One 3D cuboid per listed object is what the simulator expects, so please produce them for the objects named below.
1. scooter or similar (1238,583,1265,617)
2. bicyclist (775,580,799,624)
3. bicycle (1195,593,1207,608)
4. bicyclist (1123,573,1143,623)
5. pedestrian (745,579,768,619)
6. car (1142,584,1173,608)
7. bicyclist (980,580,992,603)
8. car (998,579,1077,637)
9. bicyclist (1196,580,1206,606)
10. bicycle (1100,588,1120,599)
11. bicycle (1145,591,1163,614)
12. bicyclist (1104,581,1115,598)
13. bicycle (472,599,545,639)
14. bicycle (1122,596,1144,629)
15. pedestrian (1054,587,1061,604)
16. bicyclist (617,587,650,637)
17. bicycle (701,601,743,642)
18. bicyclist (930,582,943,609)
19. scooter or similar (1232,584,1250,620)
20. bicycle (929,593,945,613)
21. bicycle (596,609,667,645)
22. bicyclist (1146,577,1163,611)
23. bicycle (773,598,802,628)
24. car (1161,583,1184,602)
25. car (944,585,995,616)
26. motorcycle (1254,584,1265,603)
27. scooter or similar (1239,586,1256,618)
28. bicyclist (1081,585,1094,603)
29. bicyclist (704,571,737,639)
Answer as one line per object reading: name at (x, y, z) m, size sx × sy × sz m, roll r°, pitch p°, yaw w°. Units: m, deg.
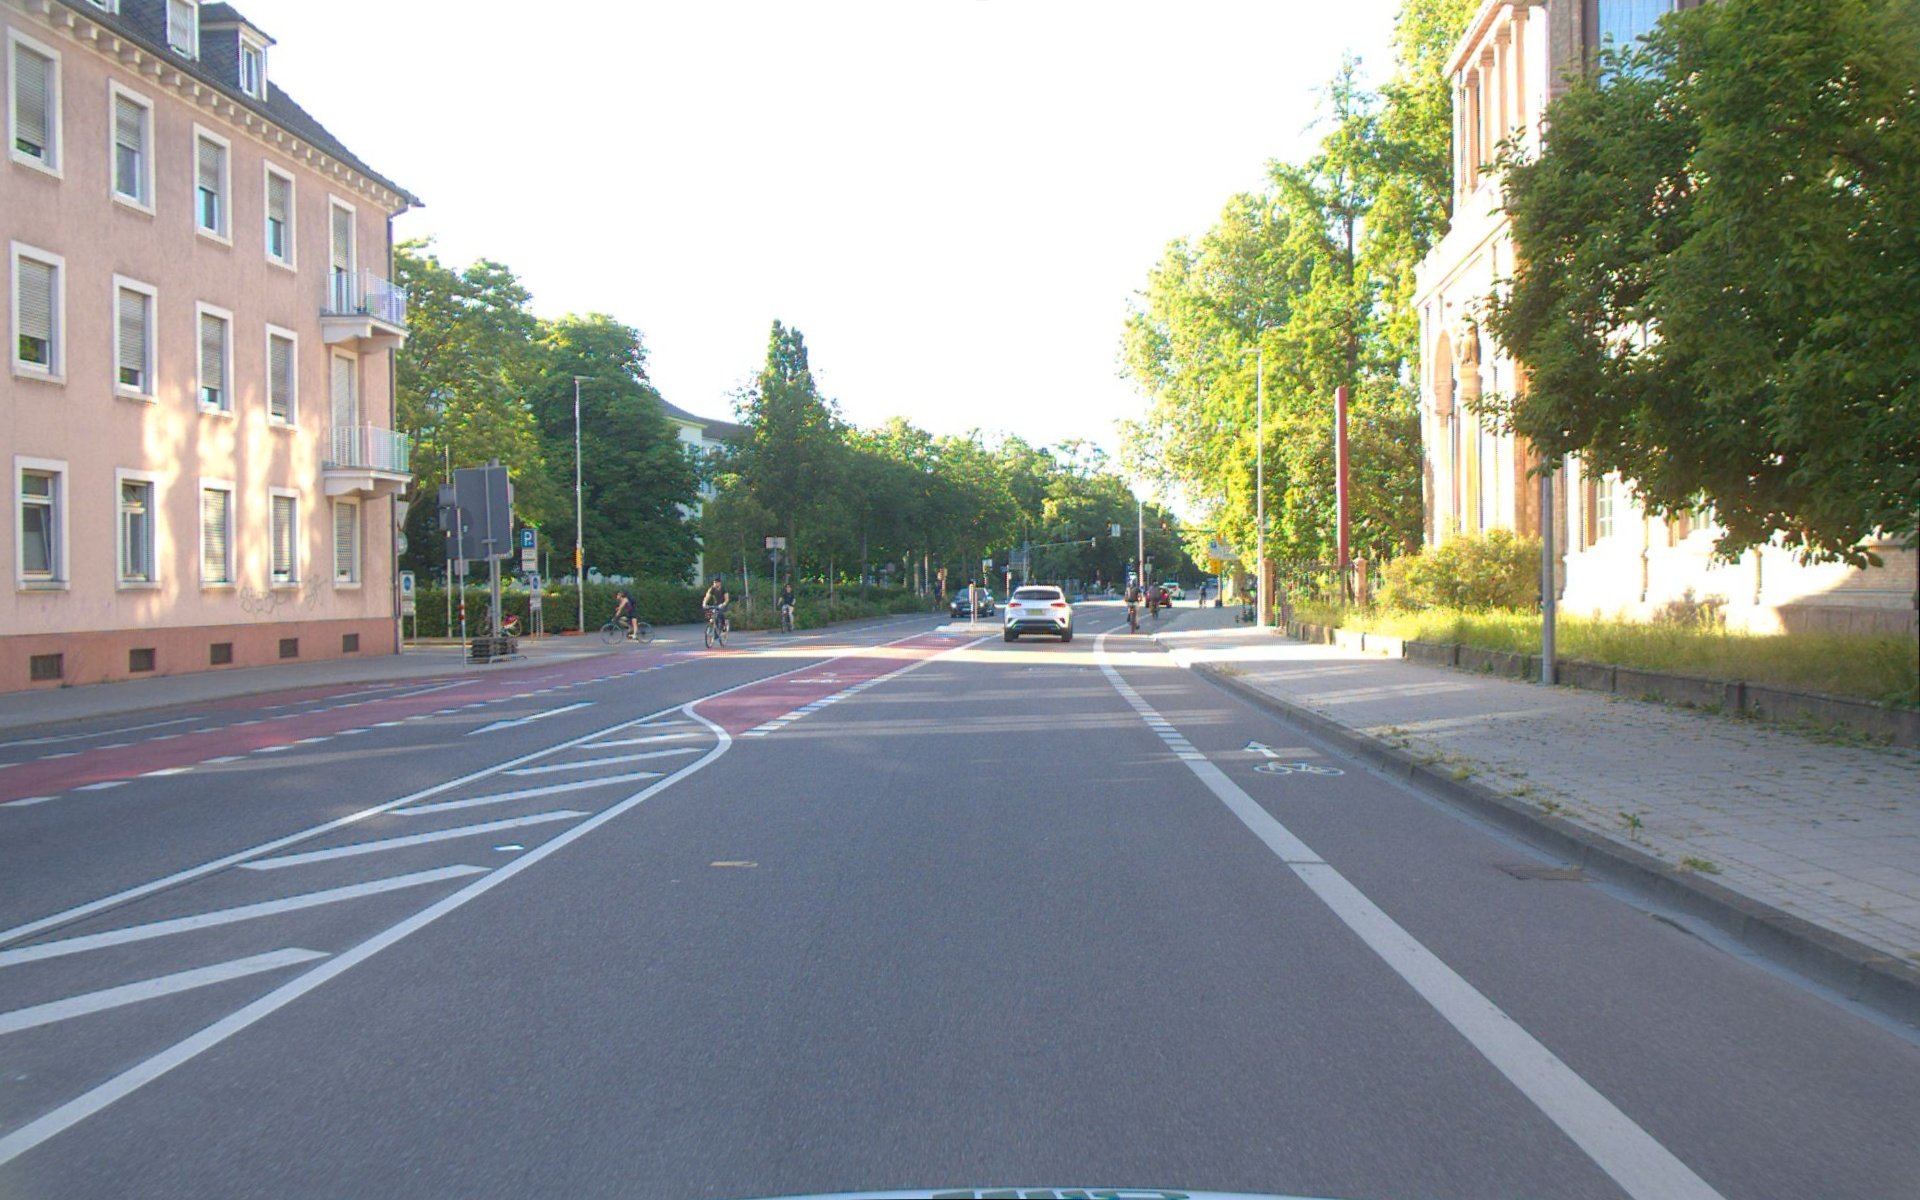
scooter or similar at (11.045, -0.002, 62.729) m, size 0.537 × 1.264 × 1.555 m, roll -2°, pitch 0°, yaw -7°
bicyclist at (-6.147, 0.054, 58.671) m, size 0.642 × 1.511 × 0.665 m, roll -4°, pitch 0°, yaw 4°
bicycle at (16.900, 0.066, 116.016) m, size 0.737 × 1.044 × 1.871 m, roll 0°, pitch 0°, yaw 10°
bicyclist at (5.712, -0.067, 54.545) m, size 0.622 × 1.642 × 1.285 m, roll 0°, pitch 0°, yaw 8°
pedestrian at (-9.718, -0.049, 79.027) m, size 0.837 × 1.883 × 1.002 m, roll -2°, pitch 0°, yaw 8°
car at (13.778, -0.309, 115.118) m, size 1.888 × 1.560 × 4.004 m, roll -2°, pitch 0°, yaw 10°
bicyclist at (1.735, -0.581, 111.398) m, size 0.632 × 1.443 × 0.971 m, roll -4°, pitch 0°, yaw 7°
car at (2.189, 0.196, 45.825) m, size 1.951 × 1.478 × 4.003 m, roll -2°, pitch 0°, yaw 5°
bicyclist at (16.927, -0.485, 116.127) m, size 0.733 × 1.780 × 0.844 m, roll 0°, pitch 0°, yaw 10°
bicycle at (13.767, -0.619, 151.888) m, size 1.728 × 1.007 × 0.512 m, roll -1°, pitch 0°, yaw 17°
bicycle at (9.041, 0.125, 76.920) m, size 0.737 × 1.044 × 1.871 m, roll 0°, pitch 0°, yaw 10°
bicyclist at (13.721, -0.987, 151.897) m, size 0.902 × 1.535 × 0.506 m, roll -1°, pitch 0°, yaw 17°
bicycle at (-15.079, 0.630, 55.232) m, size 2.270 × 1.251 × 0.561 m, roll -1°, pitch 0°, yaw 9°
bicycle at (5.708, 0.408, 54.531) m, size 0.629 × 1.042 × 2.214 m, roll 1°, pitch 1°, yaw 8°
pedestrian at (11.199, -0.480, 190.135) m, size 0.637 × 1.921 × 0.663 m, roll -2°, pitch 0°, yaw 12°
bicyclist at (-10.131, 0.379, 51.375) m, size 0.660 × 1.511 × 0.728 m, roll -3°, pitch 0°, yaw -44°
bicycle at (-6.371, 0.567, 44.344) m, size 0.632 × 1.013 × 2.110 m, roll -2°, pitch 1°, yaw 4°
bicyclist at (-1.417, -0.262, 99.152) m, size 0.616 × 1.549 × 0.725 m, roll -4°, pitch 0°, yaw 7°
scooter or similar at (10.124, 0.072, 59.680) m, size 0.291 × 1.261 × 1.159 m, roll -2°, pitch 0°, yaw -6°
bicycle at (-1.385, 0.159, 99.165) m, size 0.584 × 1.140 × 2.028 m, roll -4°, pitch 0°, yaw 7°
bicycle at (-10.190, 0.827, 51.318) m, size 2.093 × 1.013 × 0.728 m, roll -4°, pitch 2°, yaw -44°
bicyclist at (9.046, -0.289, 76.956) m, size 0.731 × 1.564 × 0.970 m, roll 0°, pitch 0°, yaw 10°
bicycle at (-6.116, 0.454, 58.698) m, size 0.638 × 1.013 × 2.110 m, roll -2°, pitch 1°, yaw 4°
car at (18.744, -0.679, 145.873) m, size 1.700 × 1.573 × 4.004 m, roll -1°, pitch 1°, yaw 11°
car at (0.492, -0.006, 81.538) m, size 1.773 × 1.444 × 4.559 m, roll -1°, pitch 1°, yaw 10°
motorcycle at (19.542, -0.452, 108.026) m, size 0.648 × 1.188 × 2.329 m, roll -3°, pitch 0°, yaw 10°
scooter or similar at (10.581, 0.077, 60.871) m, size 0.470 × 1.142 × 1.337 m, roll -2°, pitch 0°, yaw 6°
bicyclist at (12.552, -0.604, 162.436) m, size 1.069 × 1.785 × 1.098 m, roll -2°, pitch 0°, yaw 12°
bicyclist at (-6.399, 0.128, 44.273) m, size 0.622 × 1.740 × 0.739 m, roll -4°, pitch 0°, yaw 4°
